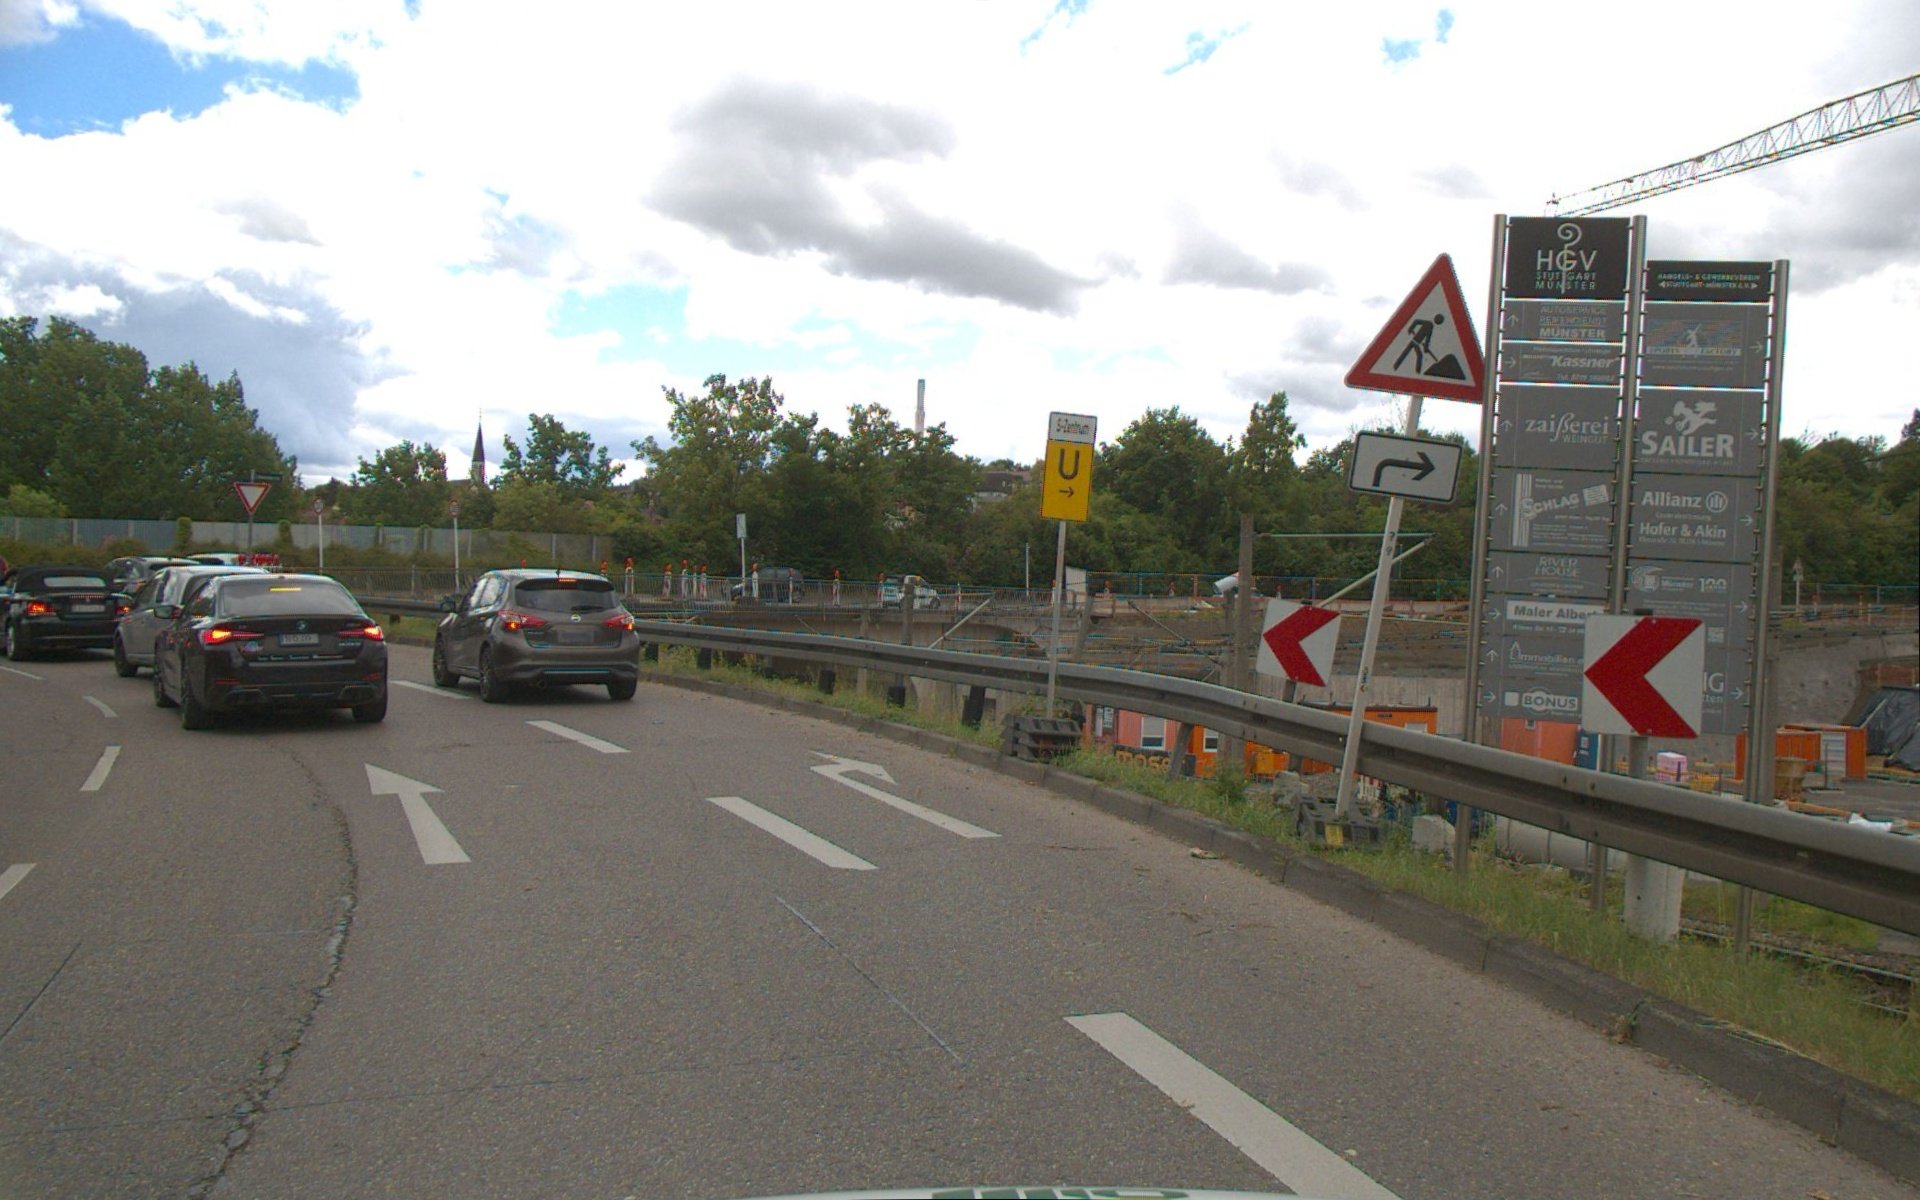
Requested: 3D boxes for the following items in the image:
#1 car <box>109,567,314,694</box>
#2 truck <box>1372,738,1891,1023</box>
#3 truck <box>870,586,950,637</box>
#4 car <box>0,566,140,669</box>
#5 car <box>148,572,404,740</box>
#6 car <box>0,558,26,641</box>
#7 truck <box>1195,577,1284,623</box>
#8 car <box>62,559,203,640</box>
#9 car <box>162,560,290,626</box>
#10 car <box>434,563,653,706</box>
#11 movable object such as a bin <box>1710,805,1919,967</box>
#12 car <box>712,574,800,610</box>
[{"bbox_3d":[-9.984,0.331,21.943,1.657,1.495,3.578,-2,2,-38],"label":"car"},{"bbox_3d":[14.053,5.670,36.362,2.803,3.961,11.523,2,1,-26],"label":"truck"},{"bbox_3d":[-2.220,0.513,73.716,1.712,2.049,3.203,2,-2,45],"label":"truck"},{"bbox_3d":[-14.414,0.208,26.095,1.556,1.391,4.019,-2,4,-43],"label":"car"},{"bbox_3d":[-7.348,0.456,17.473,1.853,1.502,4.913,-1,1,-30],"label":"car"},{"bbox_3d":[-19.241,-0.037,31.257,3.313,1.533,1.542,1,1,36],"label":"car"},{"bbox_3d":[14.234,-0.008,84.246,3.937,2.049,1.984,4,-1,-26],"label":"truck"},{"bbox_3d":[-17.275,-0.029,34.459,1.808,1.579,3.733,1,0,-40],"label":"car"},{"bbox_3d":[-20.619,-0.162,46.633,1.676,1.704,4.000,1,-1,1],"label":"car"},{"bbox_3d":[-5.231,0.358,20.431,1.777,1.579,3.965,0,0,-27],"label":"car"},{"bbox_3d":[19.790,6.414,37.683,2.982,2.797,4.279,2,2,-10],"label":"movable object such as a bin"},{"bbox_3d":[-9.345,-0.338,76.009,3.748,1.579,1.621,1,-2,-37],"label":"car"}]
